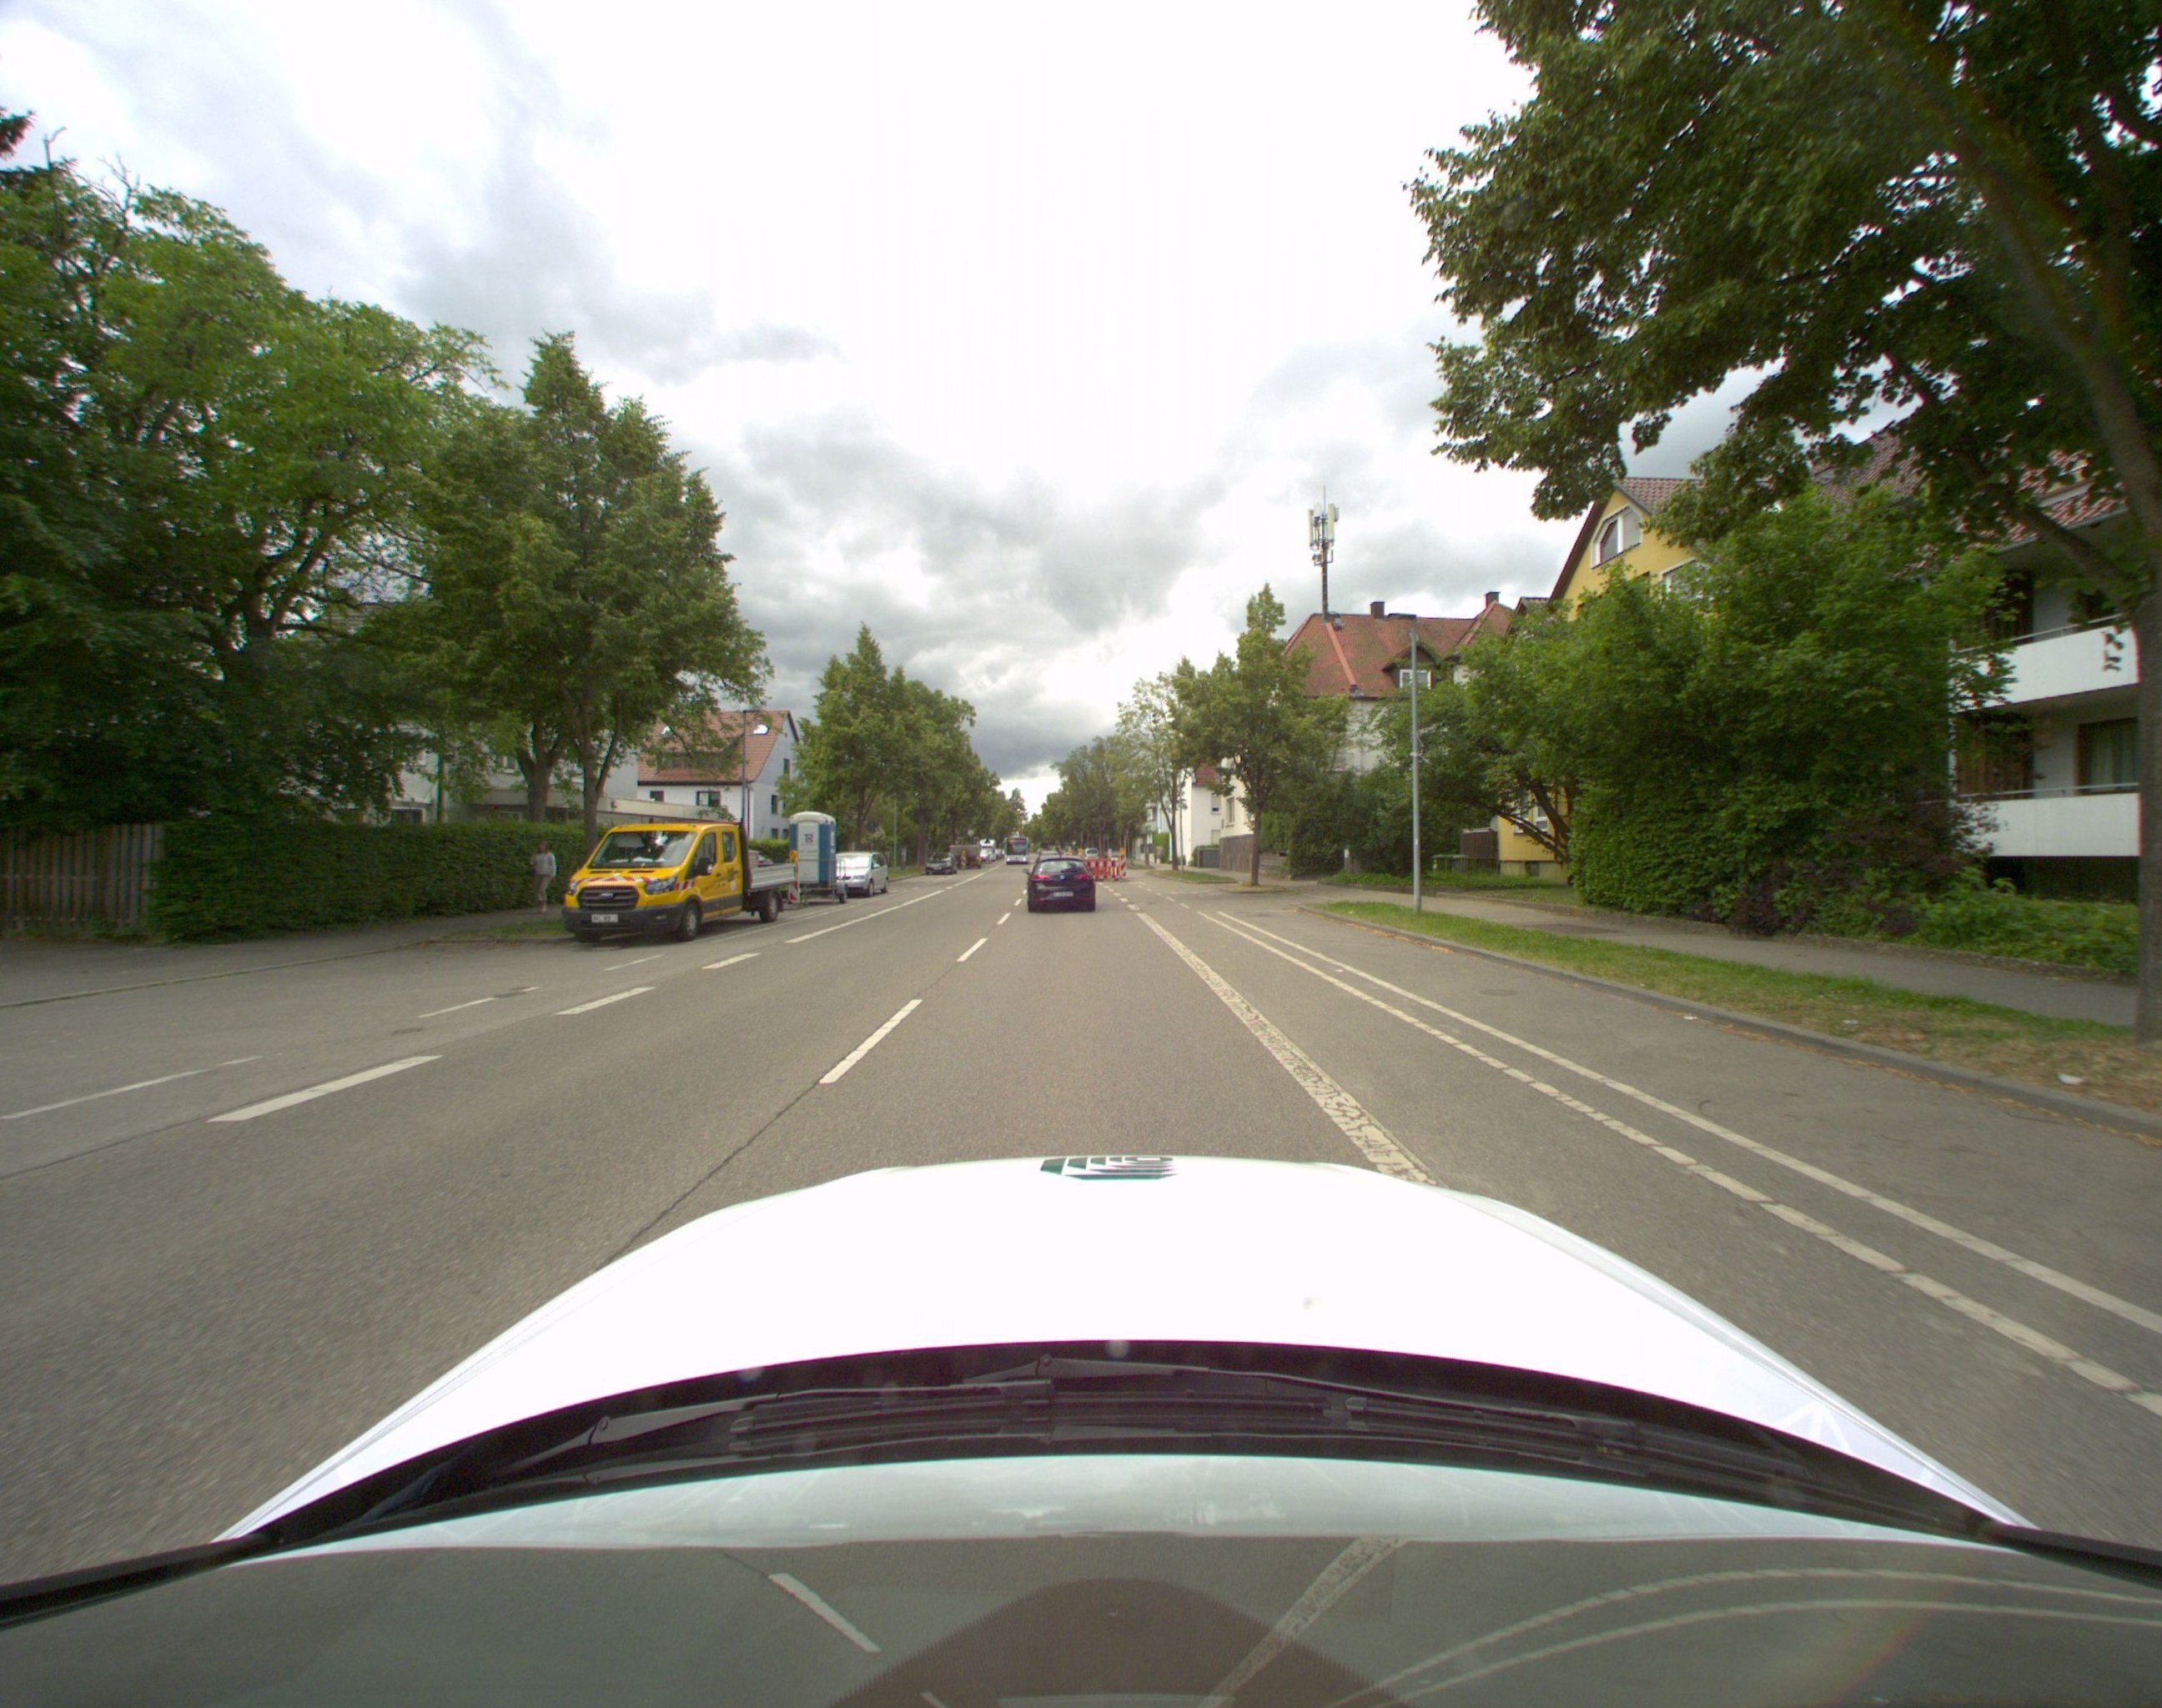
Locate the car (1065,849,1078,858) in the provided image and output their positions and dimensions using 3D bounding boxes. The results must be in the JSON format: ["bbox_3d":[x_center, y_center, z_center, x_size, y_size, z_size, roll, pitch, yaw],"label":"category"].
[{"bbox_3d":[-1.579,-0.074,133.179,2.016,1.443,5.019,0,0,-3],"label":"car"}]

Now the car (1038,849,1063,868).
[{"bbox_3d":[-2.487,0.359,67.233,1.988,1.558,3.998,-1,0,-2],"label":"car"}]

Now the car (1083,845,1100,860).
[{"bbox_3d":[1.136,-0.190,89.616,1.629,1.665,3.643,-1,0,-3],"label":"car"}]

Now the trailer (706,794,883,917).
[{"bbox_3d":[-7.842,0.030,23.364,2.363,2.963,7.013,-1,0,2],"label":"trailer"}]

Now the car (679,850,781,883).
[{"bbox_3d":[-16.629,0.580,38.683,4.060,1.433,1.803,1,1,5],"label":"car"}]

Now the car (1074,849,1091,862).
[{"bbox_3d":[0.127,0.186,95.342,1.684,1.493,4.221,-1,0,-4],"label":"car"}]

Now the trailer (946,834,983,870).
[{"bbox_3d":[-10.078,-0.140,71.044,2.669,2.941,7.464,0,0,-4],"label":"trailer"}]

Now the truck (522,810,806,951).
[{"bbox_3d":[-7.956,0.426,16.637,2.286,2.287,6.466,-1,0,2],"label":"truck"}]

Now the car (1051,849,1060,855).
[{"bbox_3d":[-5.975,-0.496,188.244,1.682,1.432,4.032,-1,0,-9],"label":"car"}]

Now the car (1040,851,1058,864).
[{"bbox_3d":[-3.963,0.371,100.680,1.990,1.530,3.993,-1,0,-5],"label":"car"}]

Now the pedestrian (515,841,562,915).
[{"bbox_3d":[-13.060,0.557,19.615,0.638,1.742,0.722,0,0,2],"label":"pedestrian"}]

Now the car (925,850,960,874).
[{"bbox_3d":[-9.472,0.591,56.070,1.856,1.553,4.614,0,-1,-3],"label":"car"}]

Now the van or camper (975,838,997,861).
[{"bbox_3d":[-12.584,-0.575,108.473,2.430,3.009,7.684,-1,0,-3],"label":"van or camper"}]

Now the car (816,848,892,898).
[{"bbox_3d":[-8.175,0.668,29.681,1.684,1.684,4.222,0,0,-2],"label":"car"}]

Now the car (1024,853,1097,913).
[{"bbox_3d":[-0.582,0.713,21.829,1.779,1.449,3.554,-1,0,-3],"label":"car"}]

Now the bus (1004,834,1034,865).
[{"bbox_3d":[-7.223,-0.433,96.907,2.798,3.288,18.028,0,0,-2],"label":"bus"}]
